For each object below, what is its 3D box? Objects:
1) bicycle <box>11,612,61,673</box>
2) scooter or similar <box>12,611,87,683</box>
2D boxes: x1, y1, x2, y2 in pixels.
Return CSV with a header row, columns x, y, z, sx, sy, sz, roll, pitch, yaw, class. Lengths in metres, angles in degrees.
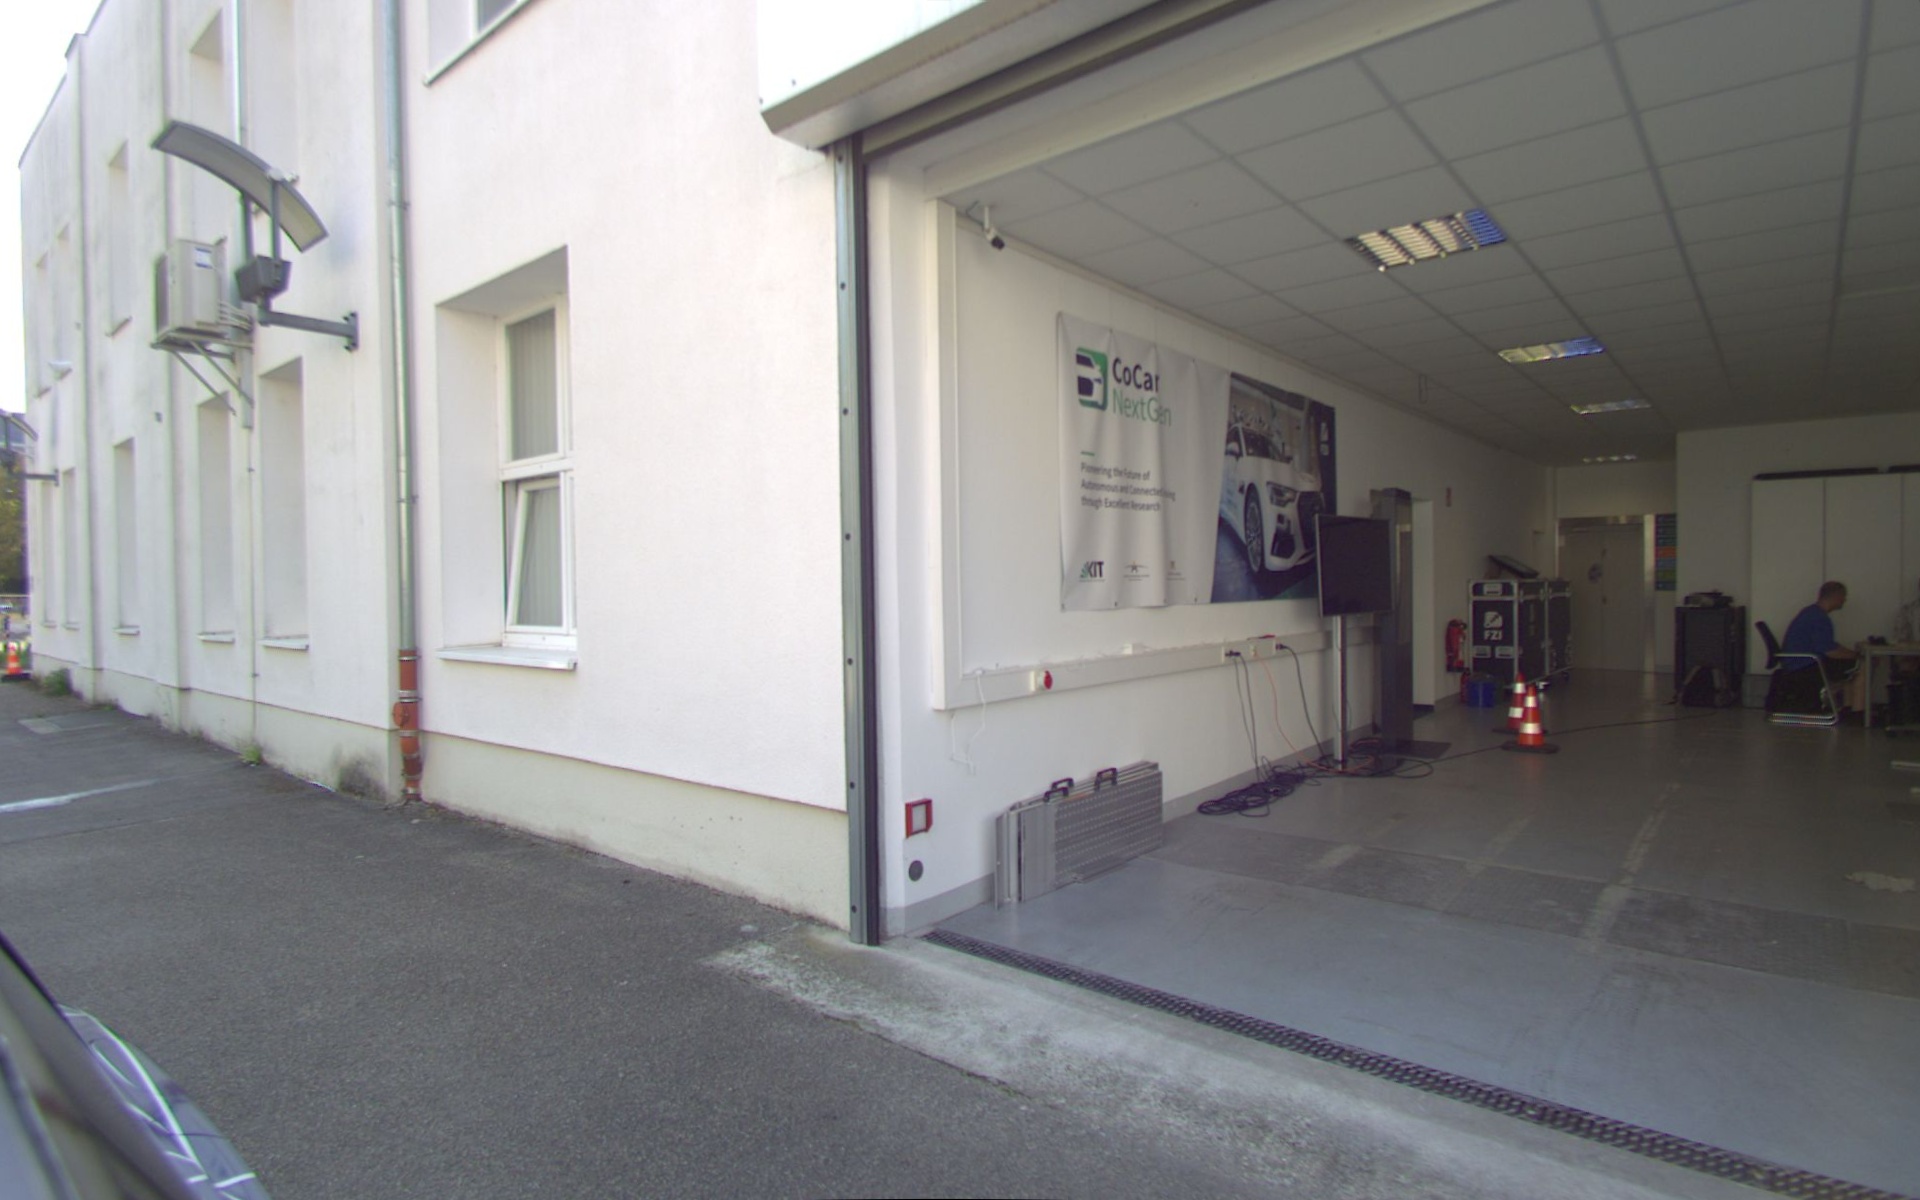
x,y,z,sx,sy,sz,roll,pitch,yaw,class
-19.722,0.878,21.590,2.006,1.222,0.471,0,1,39,bicycle
-16.701,0.854,18.558,1.485,1.271,0.383,0,1,21,scooter or similar
